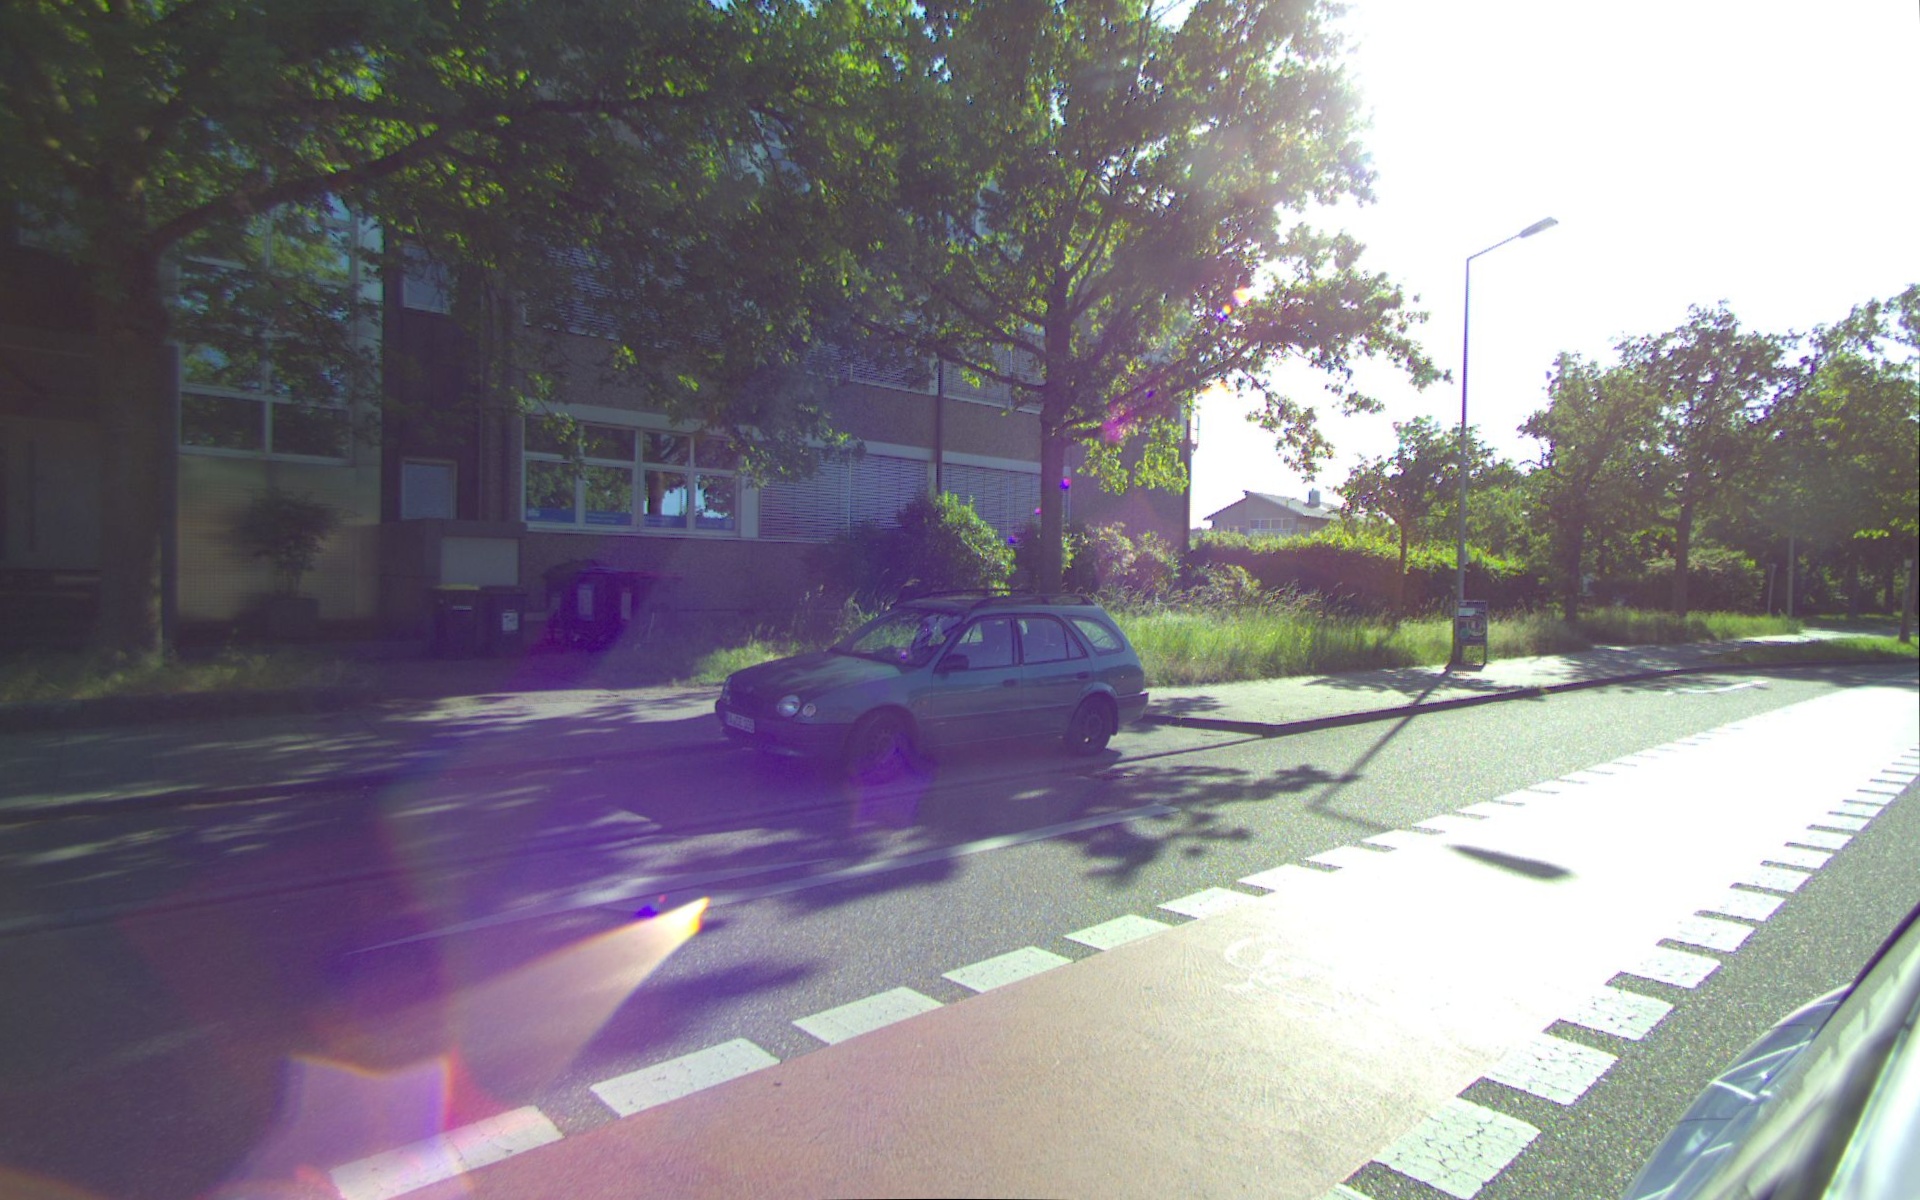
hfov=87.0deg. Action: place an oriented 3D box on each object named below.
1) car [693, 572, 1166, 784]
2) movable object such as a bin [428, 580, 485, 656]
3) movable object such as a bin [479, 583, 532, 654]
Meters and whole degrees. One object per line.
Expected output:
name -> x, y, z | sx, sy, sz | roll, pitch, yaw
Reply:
car -> -0.111, 0.514, 9.085 | 4.129, 1.446, 1.596 | -1, 3, -40
movable object such as a bin -> -7.225, 0.240, 14.515 | 0.571, 1.045, 0.713 | 0, 1, -41
movable object such as a bin -> -6.740, 0.262, 15.007 | 0.566, 1.020, 0.629 | -1, 1, -41
